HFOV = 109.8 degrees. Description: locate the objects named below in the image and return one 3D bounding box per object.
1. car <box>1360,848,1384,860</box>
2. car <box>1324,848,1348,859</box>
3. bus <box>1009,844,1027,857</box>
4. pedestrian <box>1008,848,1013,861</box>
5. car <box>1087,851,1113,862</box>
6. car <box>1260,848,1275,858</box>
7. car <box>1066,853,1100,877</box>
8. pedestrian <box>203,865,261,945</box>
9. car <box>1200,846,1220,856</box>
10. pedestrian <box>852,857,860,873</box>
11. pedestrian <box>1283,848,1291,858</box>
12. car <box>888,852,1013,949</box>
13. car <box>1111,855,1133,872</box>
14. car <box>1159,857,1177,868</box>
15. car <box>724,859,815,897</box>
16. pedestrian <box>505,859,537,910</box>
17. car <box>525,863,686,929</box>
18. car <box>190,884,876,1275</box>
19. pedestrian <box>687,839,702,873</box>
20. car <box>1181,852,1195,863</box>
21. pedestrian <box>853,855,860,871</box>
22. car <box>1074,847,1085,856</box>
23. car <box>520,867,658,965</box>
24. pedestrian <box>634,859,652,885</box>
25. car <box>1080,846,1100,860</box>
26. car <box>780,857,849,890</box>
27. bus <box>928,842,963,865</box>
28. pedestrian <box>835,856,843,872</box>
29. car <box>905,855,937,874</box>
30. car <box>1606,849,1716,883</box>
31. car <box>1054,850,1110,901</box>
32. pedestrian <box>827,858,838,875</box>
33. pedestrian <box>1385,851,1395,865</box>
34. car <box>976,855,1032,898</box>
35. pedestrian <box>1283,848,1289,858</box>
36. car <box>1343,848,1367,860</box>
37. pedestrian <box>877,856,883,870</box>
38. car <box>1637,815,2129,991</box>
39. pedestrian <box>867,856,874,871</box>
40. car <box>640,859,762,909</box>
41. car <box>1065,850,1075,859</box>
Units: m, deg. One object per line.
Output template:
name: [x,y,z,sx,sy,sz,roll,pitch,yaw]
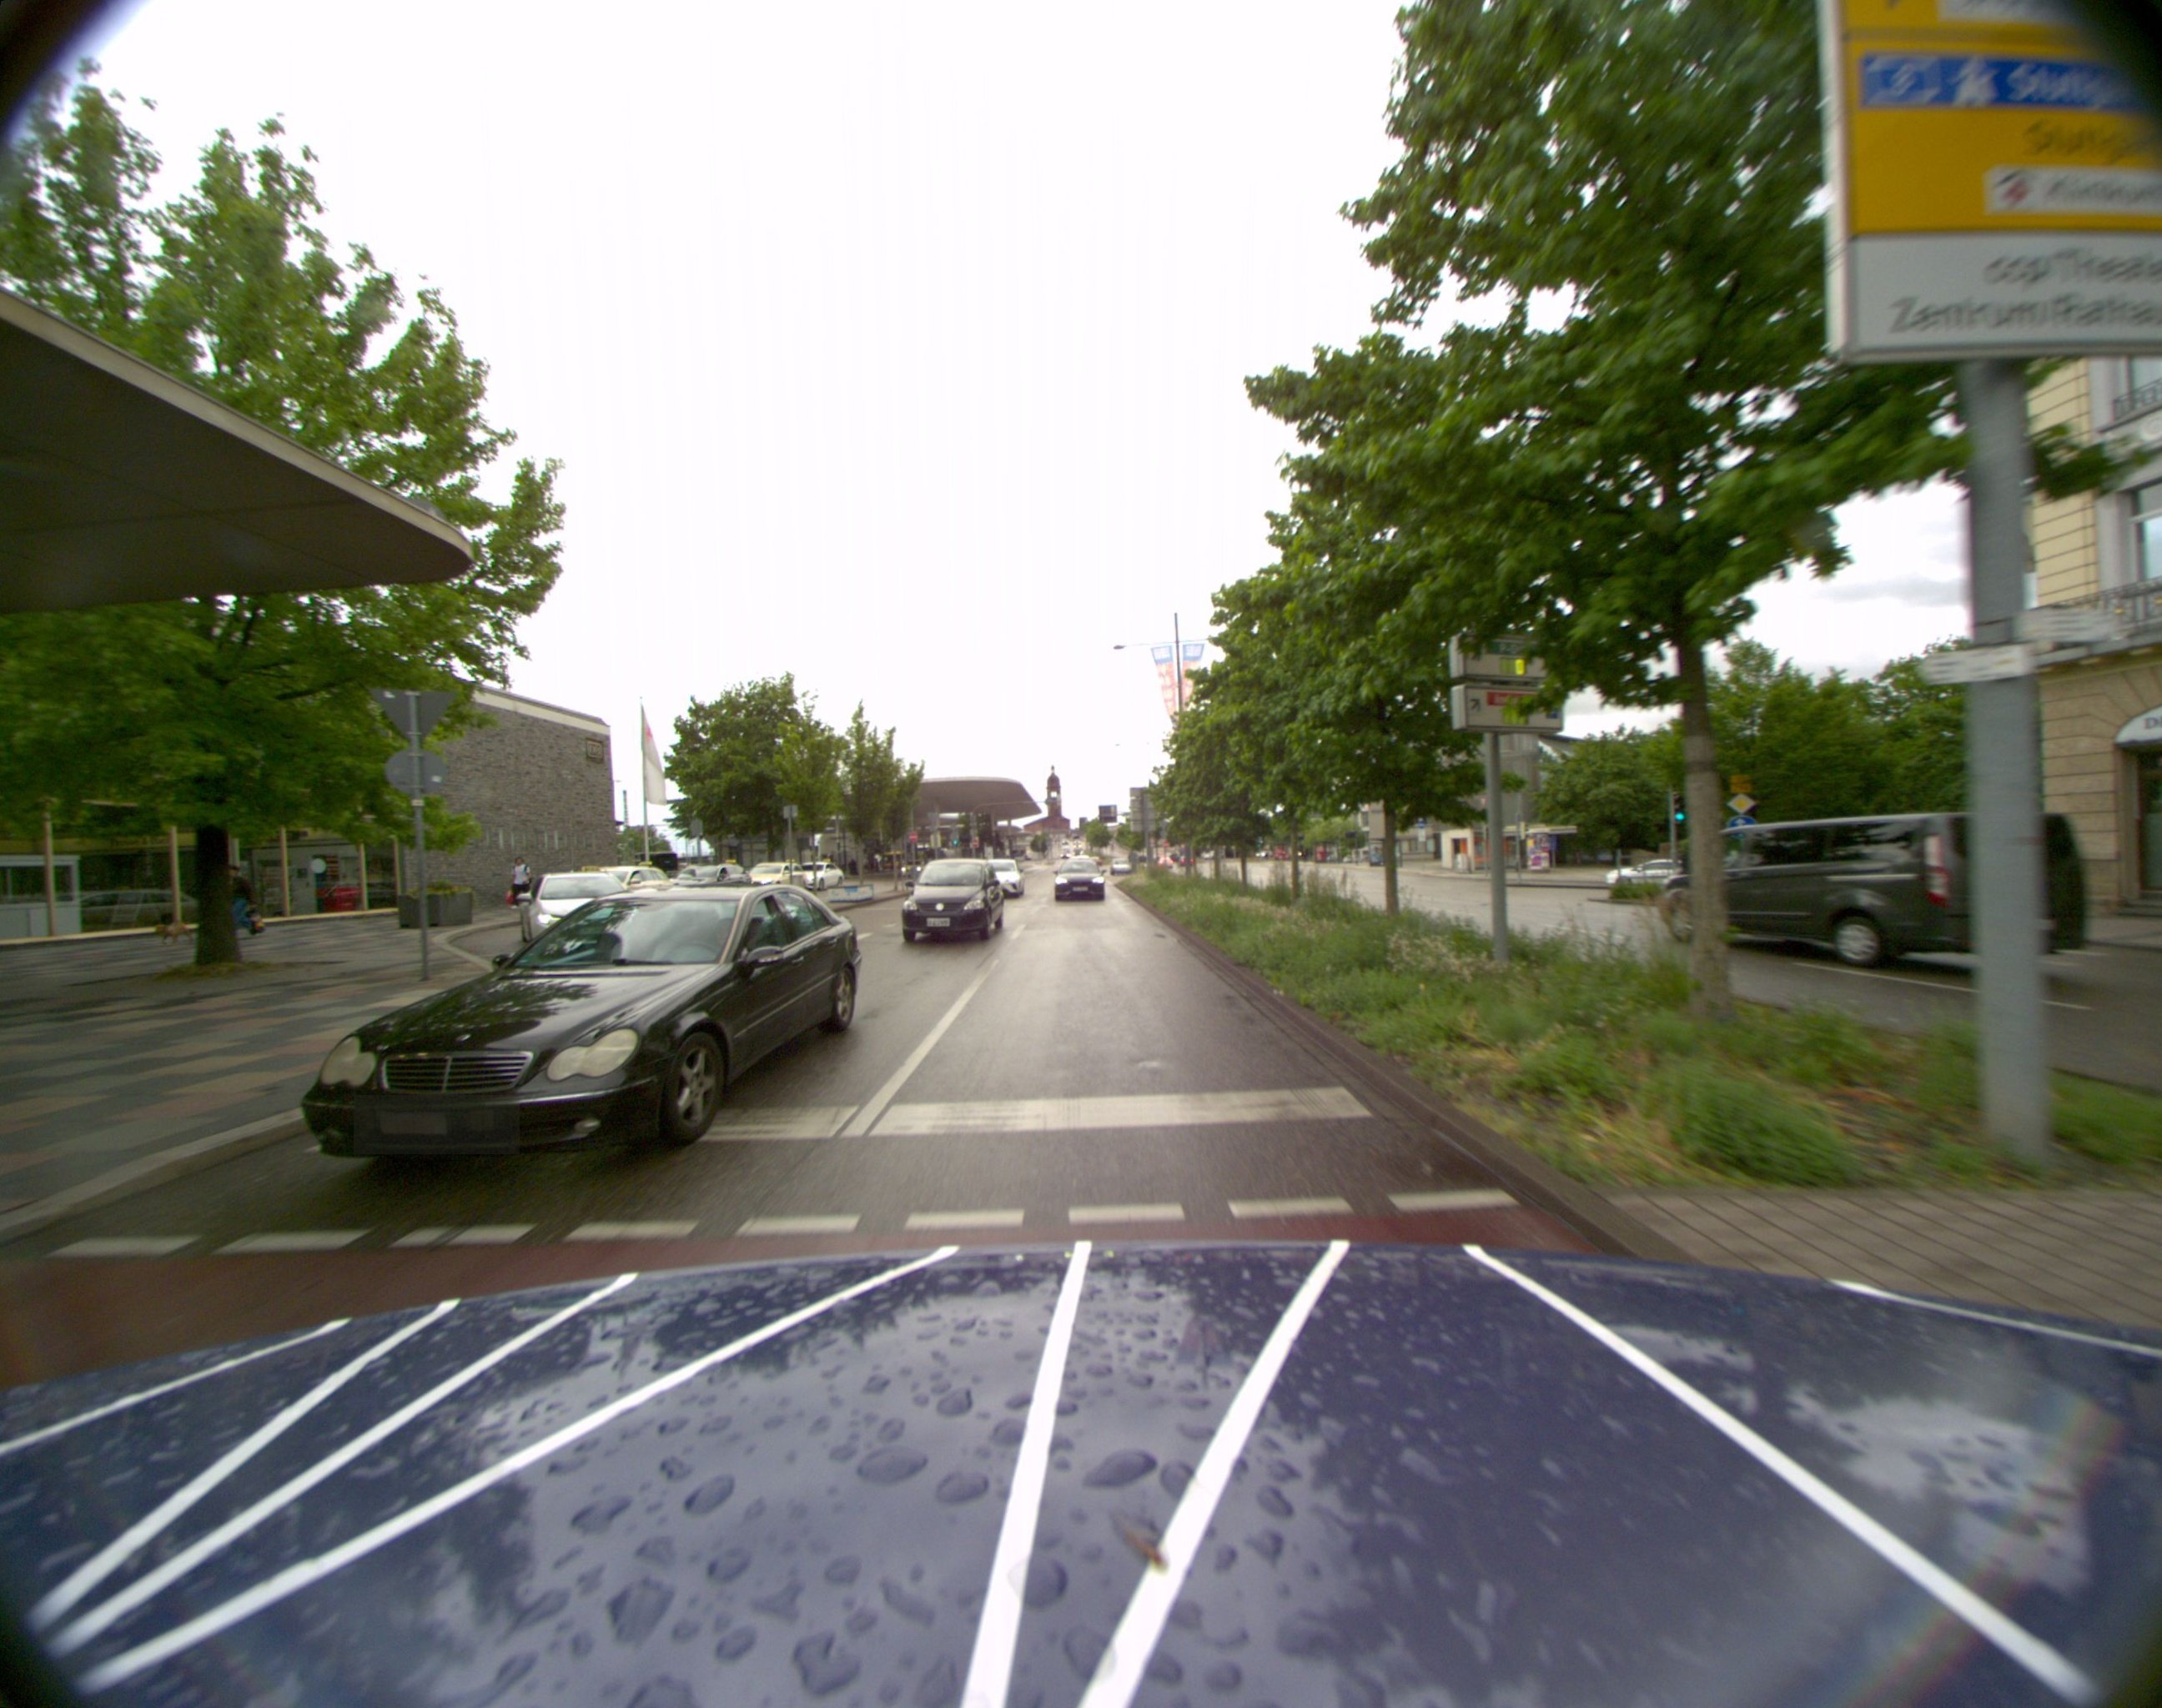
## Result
car: [43.772,0.002,114.319,4.166,1.692,1.871,-1,1,-45]
car: [39.604,-0.036,118.047,4.166,1.692,1.871,-1,1,-45]
bus: [-15.046,-0.867,182.039,3.585,3.080,10.745,-1,0,-8]
pedestrian: [-9.615,0.054,103.642,0.447,1.753,0.536,-1,1,-24]
car: [2.933,0.345,118.462,1.871,1.624,4.166,0,1,40]
car: [38.630,-0.137,157.280,1.994,2.002,4.008,1,1,31]
car: [0.091,0.748,53.754,1.877,1.624,4.298,0,1,-7]
pedestrian: [-18.029,1.066,16.152,0.724,1.617,0.795,-1,2,-44]
car: [24.343,-0.599,143.026,1.994,1.871,4.008,1,1,39]
pedestrian: [-21.788,1.040,73.590,0.534,1.505,0.479,-1,1,5]
pedestrian: [29.680,-0.177,109.505,0.983,1.481,0.735,0,1,10]
car: [-2.507,0.817,15.607,1.876,1.692,4.156,1,1,-1]
car: [3.630,0.827,67.506,1.699,1.457,3.719,0,1,-1]
car: [11.606,1.134,101.444,2.010,1.345,4.164,0,1,1]
car: [-14.008,1.026,34.522,1.998,1.590,4.958,0,0,1]
pedestrian: [-18.936,1.017,25.712,0.647,1.657,0.776,-1,1,-21]
car: [-13.368,1.100,21.792,2.000,1.590,4.954,0,0,-7]
car: [-2.931,1.054,5.472,1.699,1.457,4.451,0,1,0]
pedestrian: [-24.796,0.136,48.745,0.799,2.152,0.721,-1,1,-31]
car: [15.323,0.483,109.128,1.698,1.457,4.452,0,1,4]
pedestrian: [-21.972,0.893,74.426,0.534,1.505,0.479,-1,1,5]
car: [-0.389,-0.603,169.592,1.999,2.002,3.997,0,1,-5]
car: [-9.926,1.082,15.157,1.767,1.537,4.763,-2,1,-39]
pedestrian: [-26.941,1.127,46.747,0.771,1.571,0.710,0,1,-7]
car: [1.016,-0.160,87.458,1.876,1.624,4.155,0,1,-4]
car: [-14.001,0.985,40.228,1.884,1.590,4.902,0,1,1]
bus: [-19.655,0.019,110.781,2.876,3.063,11.924,0,-1,0]
pedestrian: [-23.861,0.983,75.039,0.533,1.505,0.480,0,1,35]
car: [-15.206,0.966,72.378,1.998,1.671,4.541,0,1,0]
car: [27.838,0.624,36.547,3.989,1.389,1.639,-3,-6,44]
car: [-0.009,0.712,28.214,1.876,1.692,4.156,-2,1,-1]
pedestrian: [-23.771,1.230,72.756,0.641,1.586,0.741,0,1,15]
pedestrian: [28.663,0.386,70.448,0.668,1.292,0.720,0,1,5]
car: [-3.031,0.846,30.657,1.811,1.550,4.049,0,1,1]
pedestrian: [29.810,-0.188,110.509,0.732,1.481,0.734,0,1,8]
car: [41.769,-0.028,115.896,4.166,1.692,1.871,-1,1,-45]
pedestrian: [-21.847,0.954,82.738,0.478,1.505,0.535,-1,1,4]
car: [10.925,0.531,11.133,1.998,2.002,5.001,0,1,2]
pedestrian: [-21.827,0.997,78.794,0.478,1.505,0.535,-1,1,4]
car: [-13.884,1.036,28.156,1.999,1.590,4.957,-2,0,-1]
car: [-2.333,0.085,163.799,1.999,2.002,3.998,0,1,-4]
